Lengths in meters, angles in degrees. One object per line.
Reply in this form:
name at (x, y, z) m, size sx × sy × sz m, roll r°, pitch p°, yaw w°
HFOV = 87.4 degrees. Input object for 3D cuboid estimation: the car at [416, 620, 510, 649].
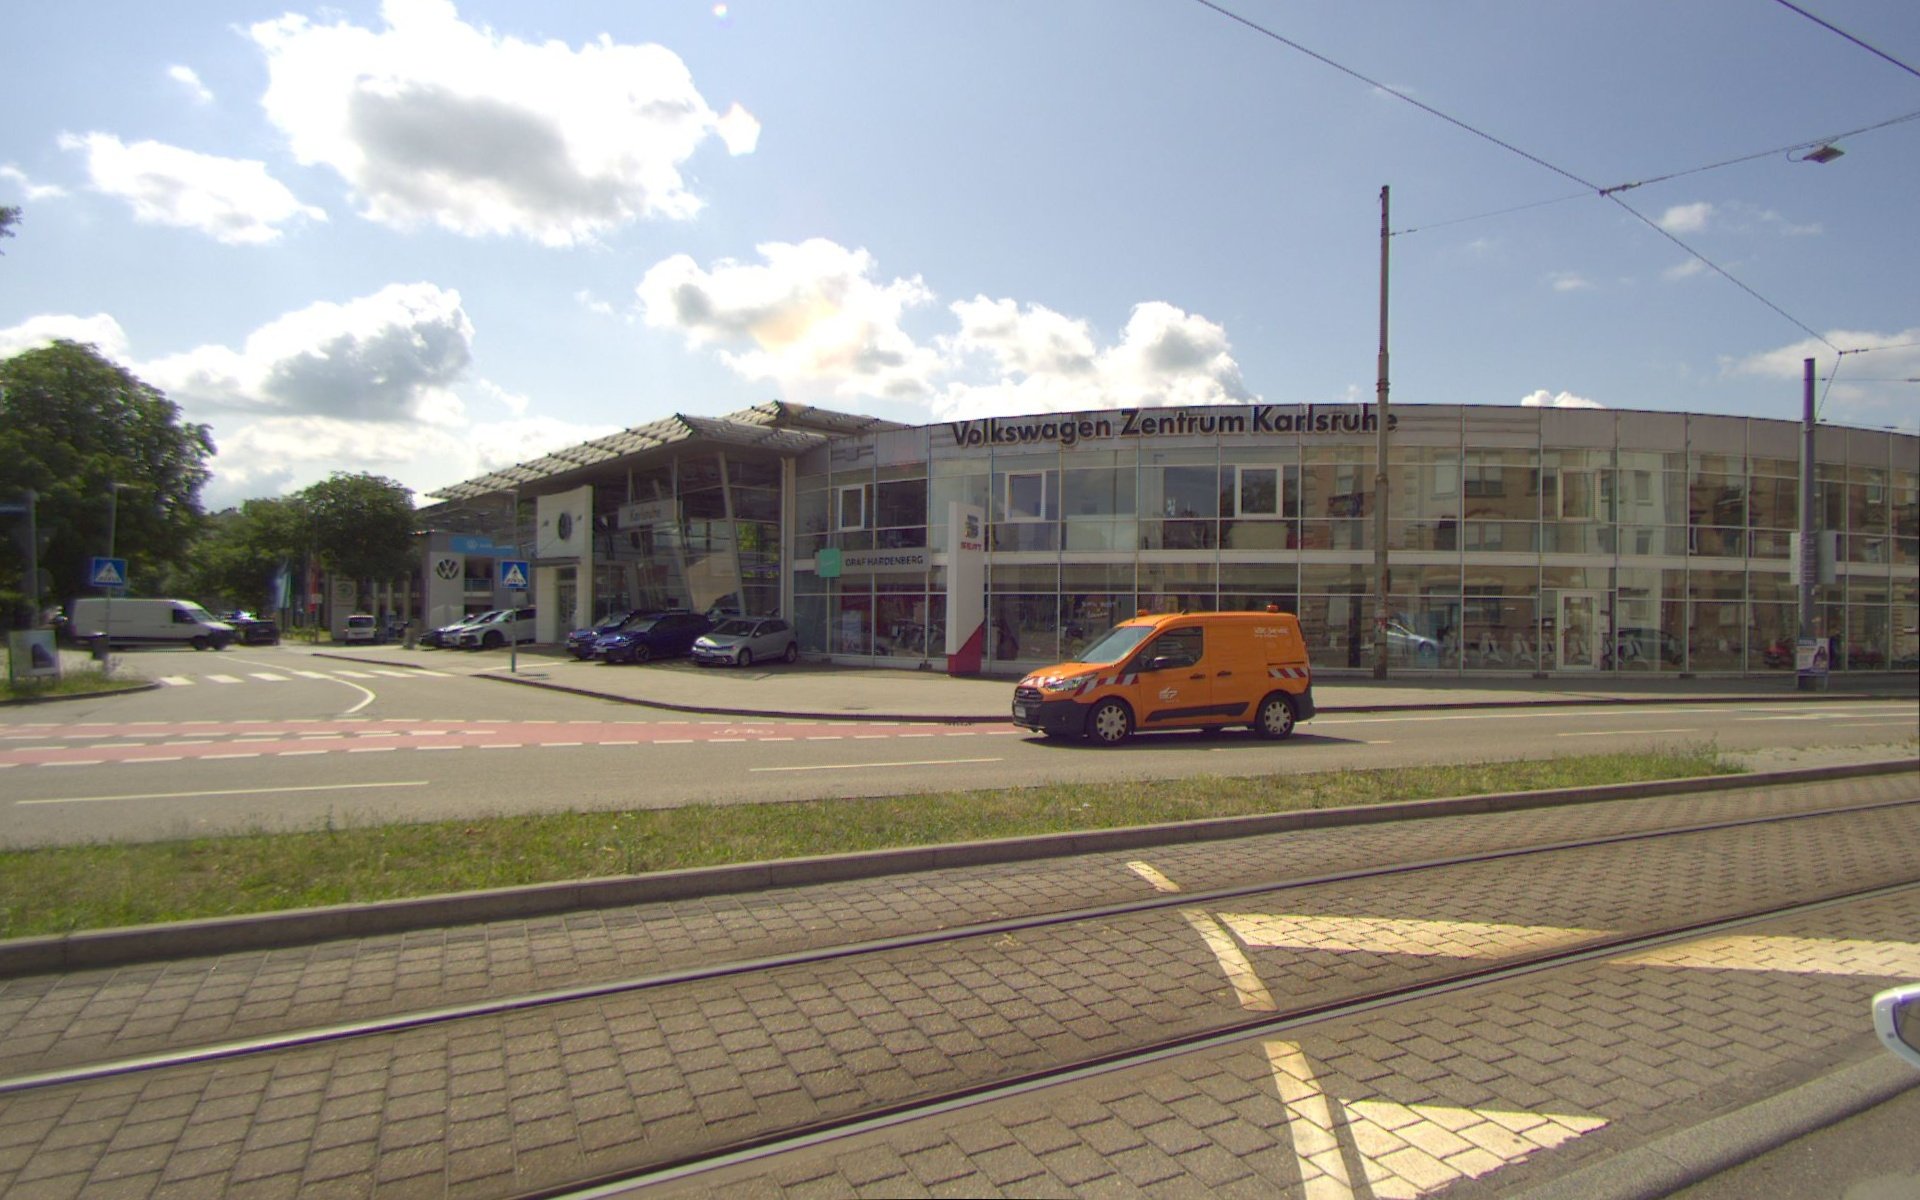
car at (-23.107, 1.567, 46.759) m, size 1.532 × 1.262 × 3.626 m, roll 0°, pitch -1°, yaw 36°

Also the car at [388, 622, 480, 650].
car at (-25.331, 1.725, 48.476) m, size 1.532 × 1.262 × 3.626 m, roll 0°, pitch -1°, yaw 36°

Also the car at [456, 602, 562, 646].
car at (-19.459, 1.037, 43.439) m, size 3.840 × 1.798 × 1.678 m, roll 1°, pitch -1°, yaw -45°

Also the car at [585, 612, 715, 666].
car at (-9.910, 1.205, 32.355) m, size 1.633 × 1.494 × 3.774 m, roll 0°, pitch 2°, yaw 36°

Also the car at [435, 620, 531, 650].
car at (-21.422, 1.564, 45.189) m, size 1.534 × 1.262 × 3.622 m, roll 0°, pitch -1°, yaw 40°

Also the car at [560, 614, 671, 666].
car at (-11.833, 1.347, 34.756) m, size 1.741 × 1.695 × 3.640 m, roll 0°, pitch -1°, yaw 19°

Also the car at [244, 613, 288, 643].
car at (-42.555, 1.688, 61.660) m, size 1.978 × 1.706 × 3.965 m, roll 3°, pitch -2°, yaw -32°

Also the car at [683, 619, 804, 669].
car at (-6.777, 1.348, 31.873) m, size 1.800 × 1.466 × 3.945 m, roll 0°, pitch -1°, yaw 23°

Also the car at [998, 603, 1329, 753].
car at (2.877, 1.034, 14.335) m, size 4.301 × 1.890 × 1.909 m, roll 0°, pitch -2°, yaw -21°

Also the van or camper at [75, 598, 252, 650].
van or camper at (-40.564, 1.224, 51.358) m, size 6.566 × 2.532 × 2.574 m, roll 1°, pitch -1°, yaw -12°

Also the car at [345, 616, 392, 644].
car at (-36.040, 1.790, 61.297) m, size 1.972 × 1.639 × 3.977 m, roll 1°, pitch -1°, yaw -24°
